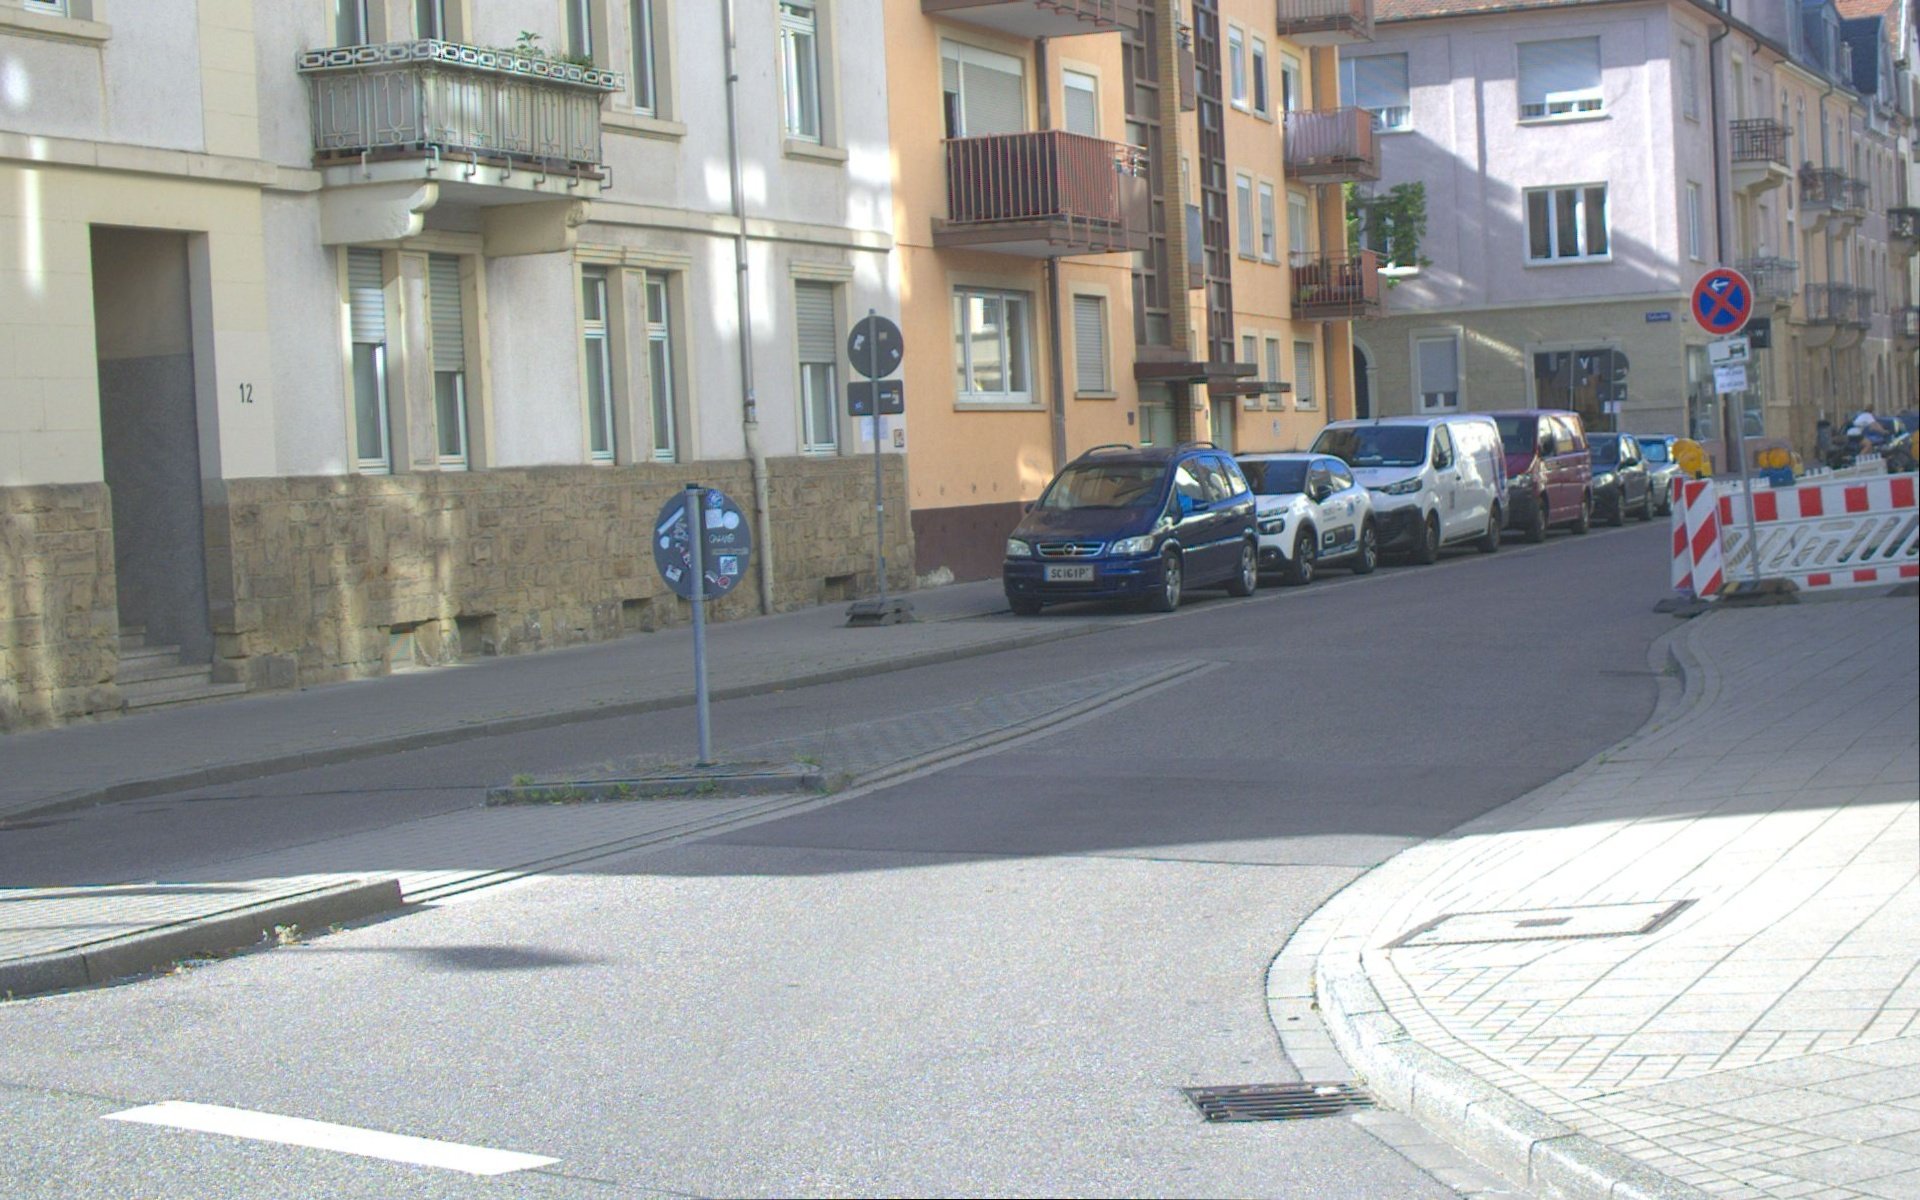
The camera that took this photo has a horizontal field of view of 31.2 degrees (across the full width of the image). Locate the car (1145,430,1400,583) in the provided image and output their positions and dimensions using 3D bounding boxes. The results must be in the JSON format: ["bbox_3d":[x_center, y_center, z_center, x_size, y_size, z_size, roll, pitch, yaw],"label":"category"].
[{"bbox_3d":[3.742,-1.133,40.475,1.764,1.615,4.291,-1,3,22],"label":"car"}]

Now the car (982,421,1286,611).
[{"bbox_3d":[1.873,-0.908,35.485,1.764,1.765,4.290,-1,3,22],"label":"car"}]

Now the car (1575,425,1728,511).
[{"bbox_3d":[12.365,-2.369,61.282,1.765,1.372,4.473,-1,3,23],"label":"car"}]

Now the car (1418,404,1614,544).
[{"bbox_3d":[8.334,-1.913,51.160,1.764,1.918,4.930,-1,3,22],"label":"car"}]

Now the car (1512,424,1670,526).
[{"bbox_3d":[10.381,-2.074,56.356,1.764,1.497,3.996,-2,2,21],"label":"car"}]

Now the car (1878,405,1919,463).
[{"bbox_3d":[27.025,-4.649,96.278,2.006,1.576,4.483,1,3,22],"label":"car"}]

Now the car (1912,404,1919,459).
[{"bbox_3d":[29.838,-5.063,103.094,2.006,1.613,4.483,1,3,22],"label":"car"}]

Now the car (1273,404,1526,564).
[{"bbox_3d":[5.897,-1.581,45.502,1.978,1.918,5.304,-1,3,22],"label":"car"}]

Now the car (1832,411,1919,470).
[{"bbox_3d":[23.193,-4.017,86.599,1.682,1.421,4.269,1,3,24],"label":"car"}]
